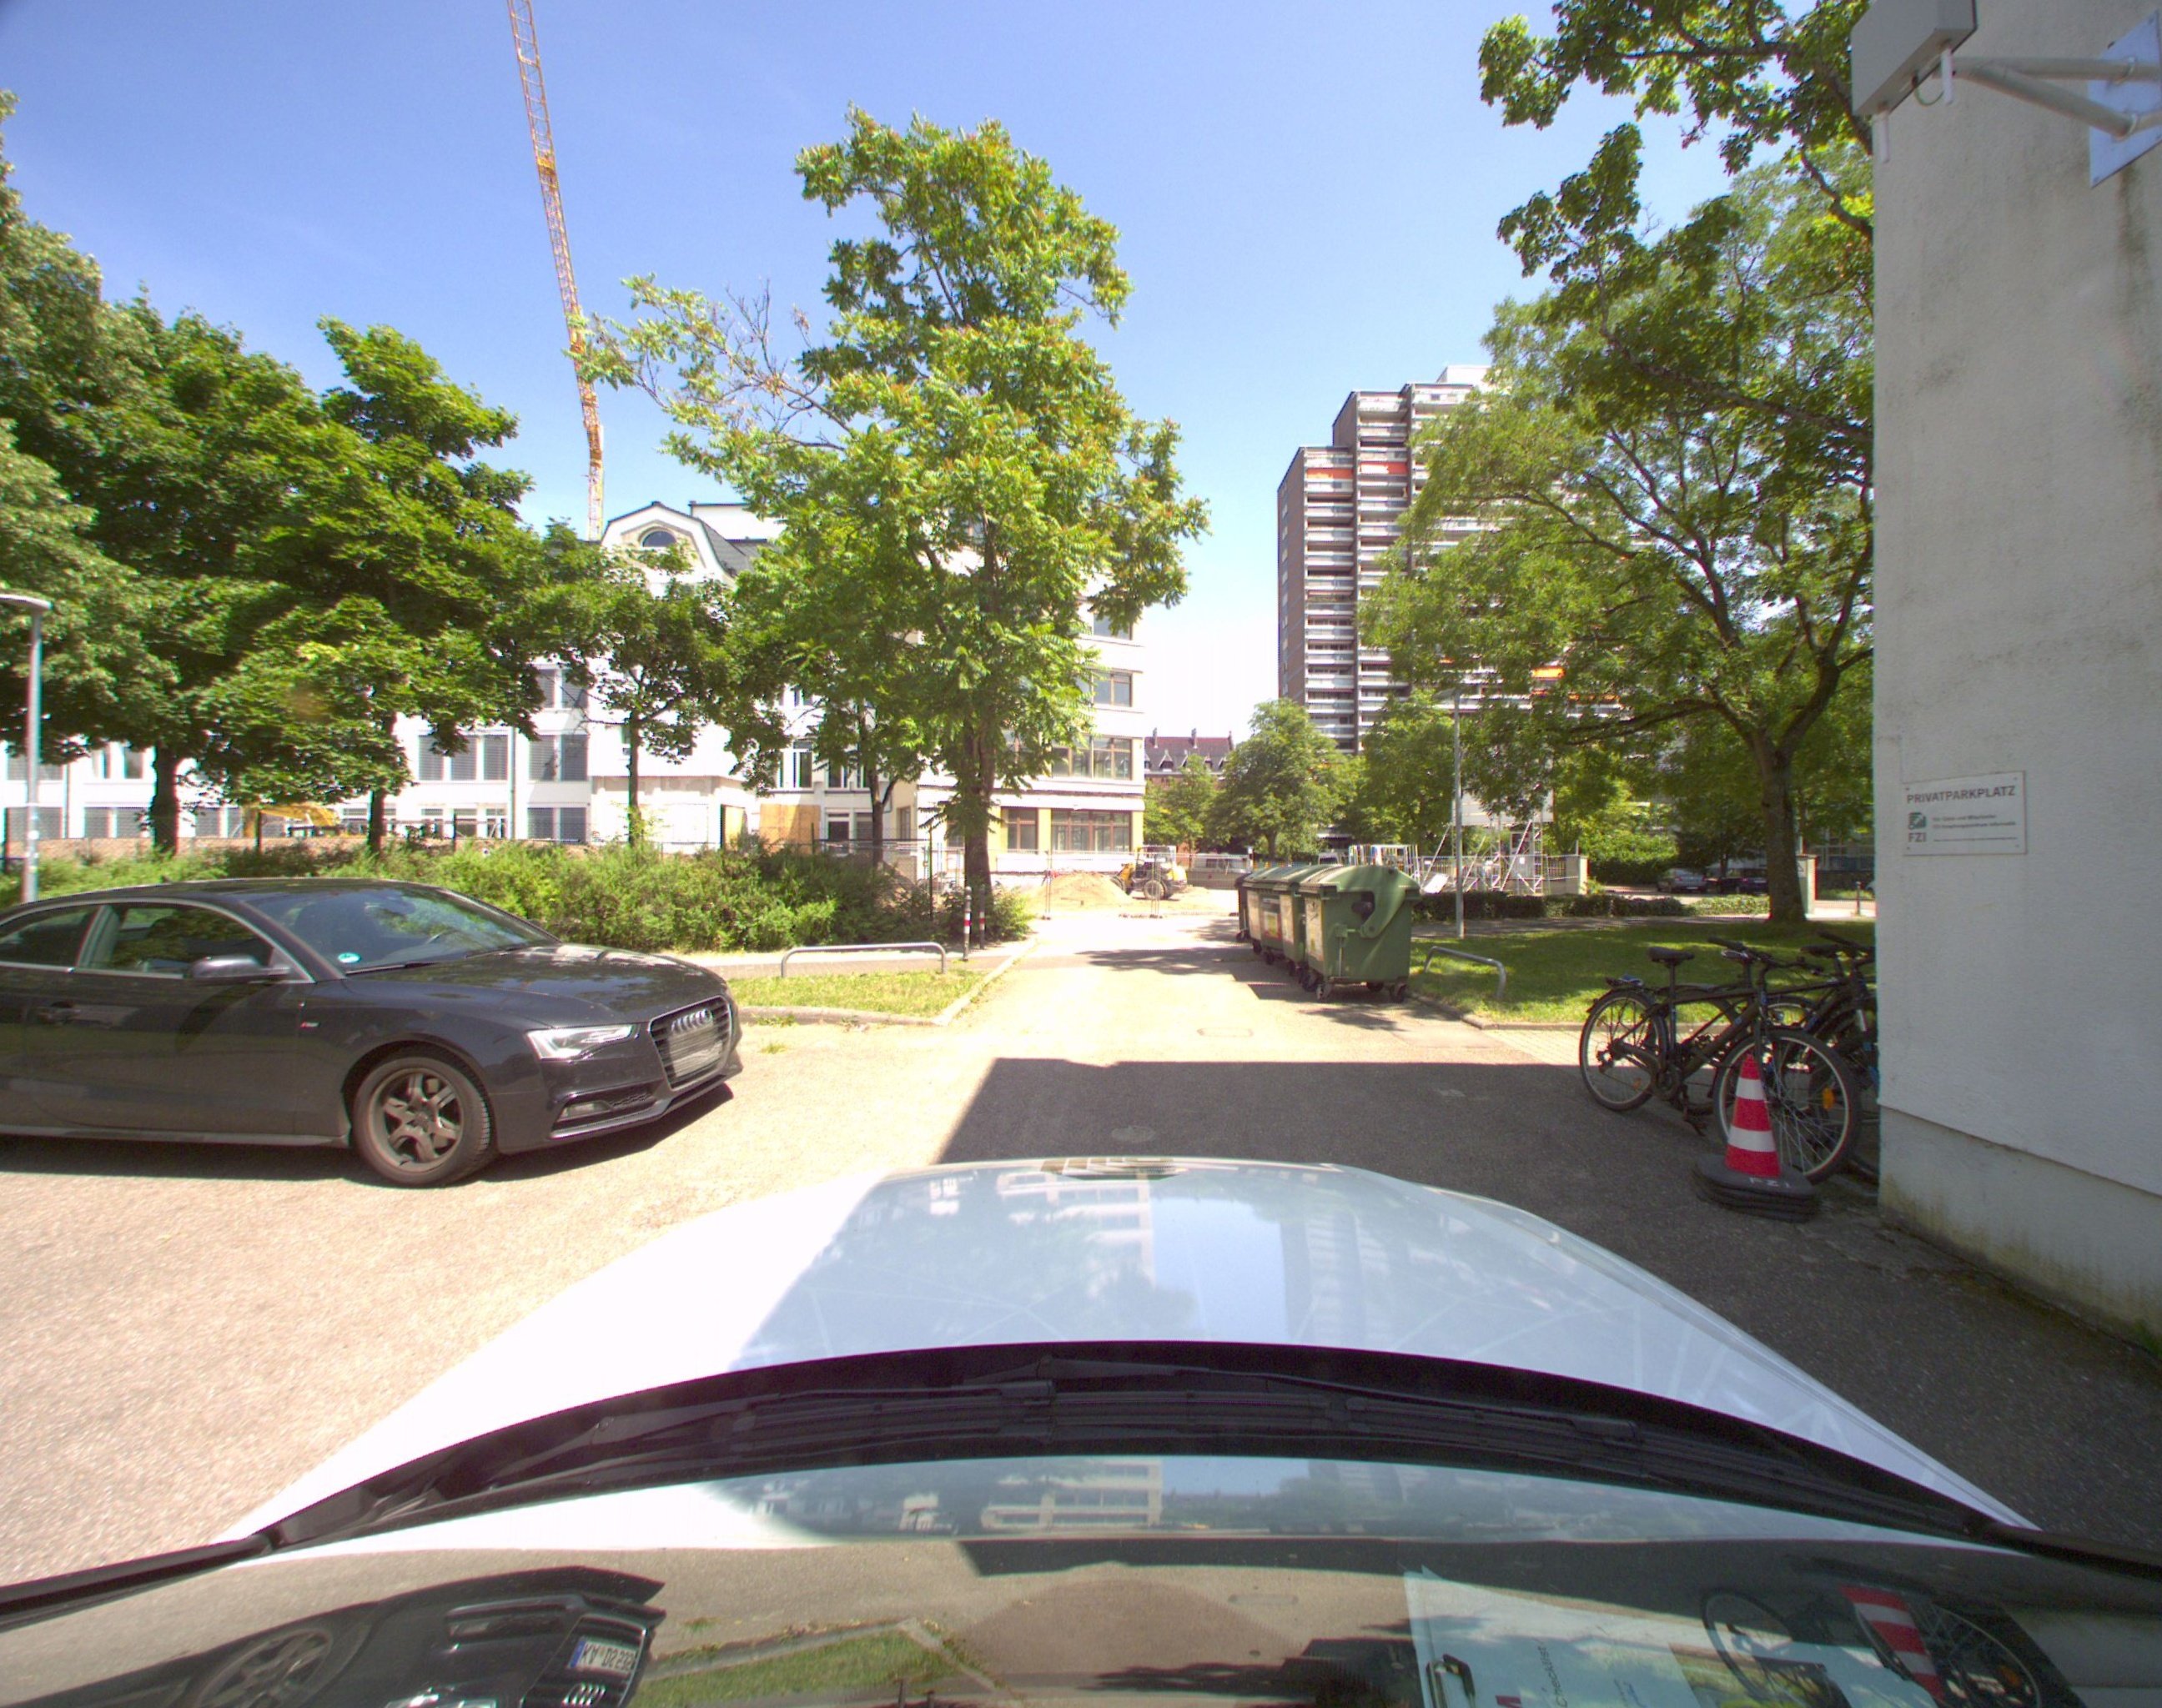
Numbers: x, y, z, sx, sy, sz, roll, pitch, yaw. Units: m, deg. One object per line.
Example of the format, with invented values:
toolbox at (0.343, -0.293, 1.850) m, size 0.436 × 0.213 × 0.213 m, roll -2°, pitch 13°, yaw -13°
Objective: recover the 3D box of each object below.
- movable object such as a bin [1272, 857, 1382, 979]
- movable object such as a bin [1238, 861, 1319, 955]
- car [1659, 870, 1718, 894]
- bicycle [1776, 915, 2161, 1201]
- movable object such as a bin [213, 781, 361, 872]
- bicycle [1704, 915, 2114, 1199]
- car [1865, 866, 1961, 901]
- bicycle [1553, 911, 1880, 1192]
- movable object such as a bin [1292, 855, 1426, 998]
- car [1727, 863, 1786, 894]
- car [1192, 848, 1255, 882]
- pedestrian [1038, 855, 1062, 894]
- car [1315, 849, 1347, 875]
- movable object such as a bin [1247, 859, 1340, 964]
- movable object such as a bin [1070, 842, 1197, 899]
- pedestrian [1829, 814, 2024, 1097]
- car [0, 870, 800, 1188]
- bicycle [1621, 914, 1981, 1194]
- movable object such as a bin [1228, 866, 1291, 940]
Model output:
movable object such as a bin at (3.117, 0.781, 10.485) m, size 1.071 × 1.458 × 1.378 m, roll 0°, pitch -1°, yaw 3°
movable object such as a bin at (3.206, 0.849, 13.379) m, size 1.071 × 1.458 × 1.378 m, roll 0°, pitch -1°, yaw 3°
car at (35.312, 1.586, 47.426) m, size 1.897 × 1.310 × 3.952 m, roll -1°, pitch -1°, yaw 24°
bicycle at (4.662, 0.927, 4.349) m, size 0.403 × 1.102 × 1.827 m, roll 0°, pitch -1°, yaw 3°
movable object such as a bin at (-39.630, -1.319, 40.728) m, size 5.676 × 4.372 × 2.003 m, roll 0°, pitch -1°, yaw 6°
bicycle at (4.226, 0.929, 4.387) m, size 0.403 × 1.102 × 1.827 m, roll 0°, pitch -1°, yaw 3°
car at (39.864, 1.388, 39.134) m, size 1.650 × 1.590 × 3.709 m, roll 0°, pitch -1°, yaw 18°
bicycle at (3.245, 0.908, 4.400) m, size 0.403 × 1.102 × 1.827 m, roll 0°, pitch -1°, yaw 3°
movable object such as a bin at (3.026, 0.754, 9.043) m, size 1.071 × 1.458 × 1.378 m, roll 0°, pitch -1°, yaw 3°
car at (37.034, 1.309, 44.769) m, size 1.992 × 1.629 × 3.955 m, roll -1°, pitch -1°, yaw 33°
car at (10.752, 0.851, 61.938) m, size 2.004 × 2.416 × 5.197 m, roll 1°, pitch -1°, yaw -26°
pedestrian at (-1.462, 0.972, 38.611) m, size 0.907 × 1.847 × 0.990 m, roll 0°, pitch -1°, yaw 14°
car at (22.641, 0.776, 73.501) m, size 2.165 × 2.258 × 4.896 m, roll -1°, pitch -1°, yaw 24°
movable object such as a bin at (3.079, 0.809, 11.960) m, size 1.071 × 1.458 × 1.378 m, roll 0°, pitch -1°, yaw 3°
movable object such as a bin at (2.419, 0.726, 38.118) m, size 5.352 × 2.464 × 2.382 m, roll 1°, pitch -1°, yaw 30°
pedestrian at (5.558, 0.633, 5.399) m, size 0.548 × 1.749 × 0.690 m, roll 0°, pitch -1°, yaw 4°
car at (-4.213, 0.791, 4.723) m, size 4.409 × 1.380 × 2.026 m, roll 0°, pitch -1°, yaw 4°
bicycle at (3.715, 0.931, 4.436) m, size 0.403 × 1.102 × 1.827 m, roll 0°, pitch -1°, yaw 3°
movable object such as a bin at (3.664, 0.987, 16.871) m, size 1.071 × 1.458 × 1.378 m, roll 0°, pitch -1°, yaw 3°
